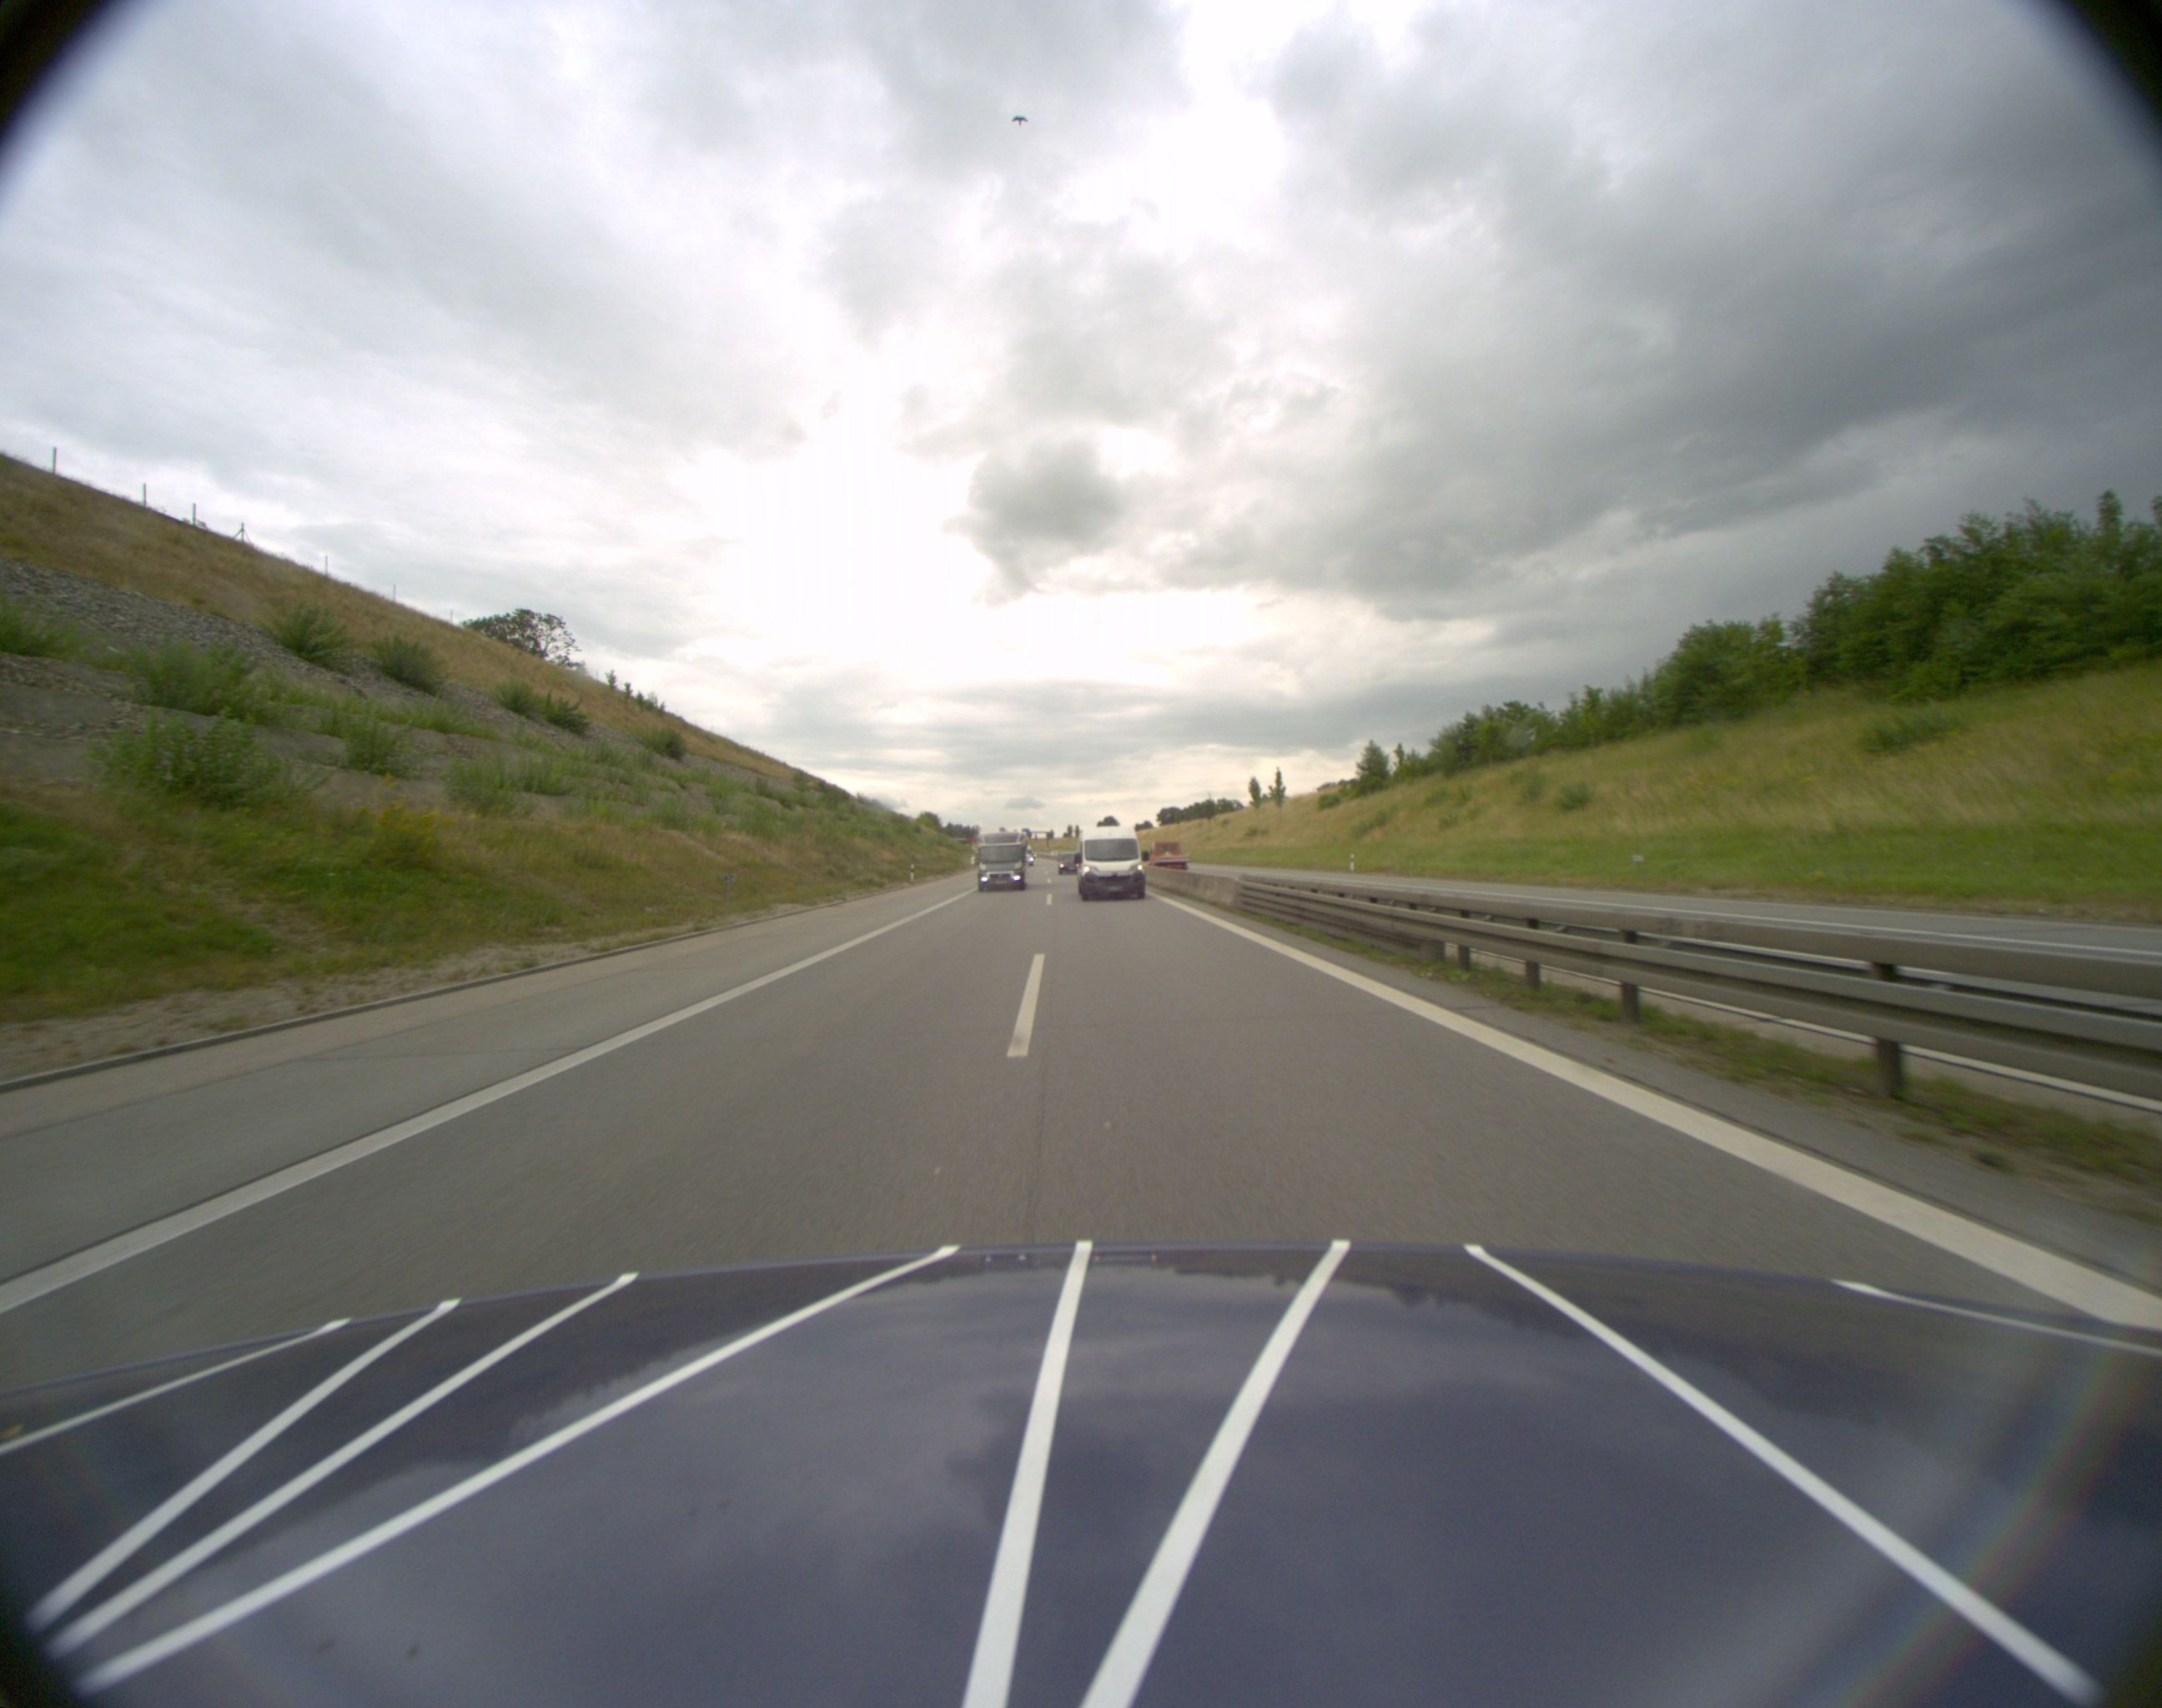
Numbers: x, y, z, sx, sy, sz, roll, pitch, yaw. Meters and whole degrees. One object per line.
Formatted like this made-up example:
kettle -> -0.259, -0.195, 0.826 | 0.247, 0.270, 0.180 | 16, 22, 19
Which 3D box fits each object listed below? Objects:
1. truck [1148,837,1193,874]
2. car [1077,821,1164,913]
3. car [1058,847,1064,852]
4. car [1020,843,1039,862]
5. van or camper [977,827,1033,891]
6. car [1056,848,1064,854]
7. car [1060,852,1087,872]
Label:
truck -> 6.318, 0.076, 54.537 | 2.196, 2.495, 6.552 | -1, 0, -2
car -> 1.053, 0.323, 23.441 | 2.132, 2.412, 6.109 | -1, 1, -2
car -> -5.539, -1.314, 209.886 | 1.704, 1.432, 3.643 | -1, 1, -3
car -> -6.507, -0.188, 97.114 | 2.290, 2.259, 6.430 | -1, 1, -3
van or camper -> -3.526, 0.196, 36.469 | 2.104, 2.721, 6.900 | -2, 1, -2
car -> -5.243, -0.686, 185.316 | 1.704, 1.432, 3.643 | -1, 1, -5
car -> -0.561, 0.567, 56.989 | 1.704, 1.432, 3.643 | -1, 1, -5
